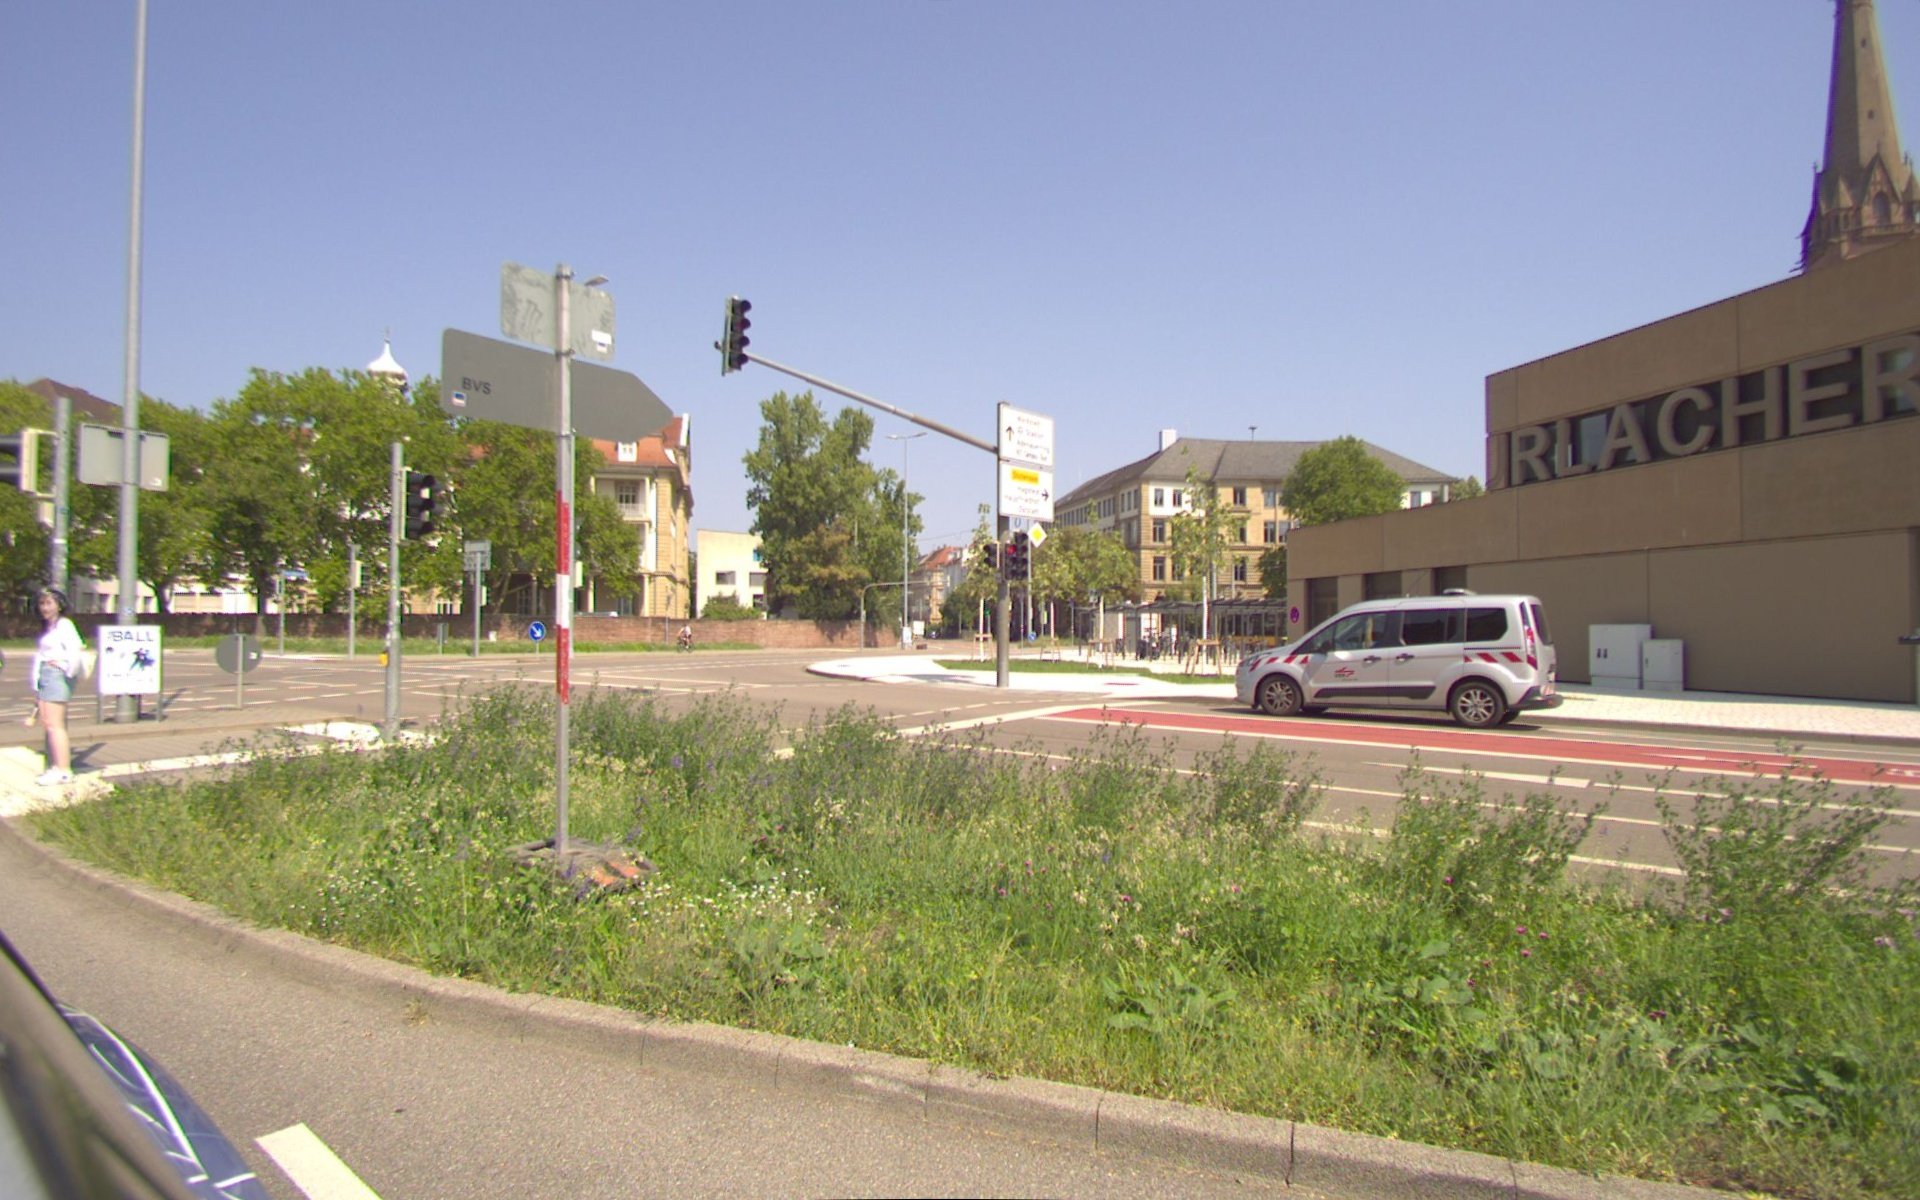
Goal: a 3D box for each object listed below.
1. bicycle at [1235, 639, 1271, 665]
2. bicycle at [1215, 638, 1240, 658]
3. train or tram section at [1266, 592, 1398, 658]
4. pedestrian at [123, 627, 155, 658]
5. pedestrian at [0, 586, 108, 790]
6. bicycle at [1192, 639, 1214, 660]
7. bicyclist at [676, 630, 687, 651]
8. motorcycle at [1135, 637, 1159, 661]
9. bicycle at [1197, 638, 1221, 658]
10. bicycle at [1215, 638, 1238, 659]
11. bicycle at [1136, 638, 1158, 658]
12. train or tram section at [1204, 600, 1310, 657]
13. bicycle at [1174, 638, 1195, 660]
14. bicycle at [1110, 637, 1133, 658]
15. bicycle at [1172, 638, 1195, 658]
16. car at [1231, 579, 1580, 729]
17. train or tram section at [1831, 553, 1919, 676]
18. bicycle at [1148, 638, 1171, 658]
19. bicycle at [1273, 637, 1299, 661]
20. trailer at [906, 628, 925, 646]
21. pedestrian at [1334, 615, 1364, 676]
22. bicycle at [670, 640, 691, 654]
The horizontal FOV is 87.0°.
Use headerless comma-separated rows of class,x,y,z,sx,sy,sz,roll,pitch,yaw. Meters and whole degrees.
bicycle,12.082,2.126,41.757,0.504,1.048,1.740,1,-3,-20
bicycle,14.278,2.581,54.024,0.518,1.048,1.774,1,-3,-11
train or tram section,22.058,1.633,60.712,3.109,3.625,8.548,2,-3,-14
pedestrian,-54.844,2.850,67.602,1.218,2.029,1.071,0,-3,2
pedestrian,-8.017,0.754,8.885,0.688,1.708,0.609,2,-3,-32
bicycle,12.212,2.500,50.975,0.406,1.048,1.644,1,-3,-11
bicyclist,-16.415,2.394,59.628,0.430,1.242,0.537,-1,-2,19
motorcycle,8.639,2.276,46.879,0.483,1.077,1.783,1,-3,-11
bicycle,13.193,2.562,53.661,0.518,1.048,1.774,1,-3,-11
bicycle,13.559,2.488,51.531,0.406,1.048,1.644,1,-3,-11
bicycle,9.717,2.489,52.615,0.518,1.048,1.774,1,-3,-11
train or tram section,20.030,2.033,68.915,3.085,3.588,8.350,2,-3,-14
bicycle,11.314,2.466,50.982,0.406,1.048,1.644,1,-3,-11
bicycle,8.389,2.451,52.616,0.518,1.090,1.869,1,-3,-11
bicycle,11.857,2.544,53.631,0.518,1.048,1.774,1,-3,-11
car,6.416,0.787,14.802,4.327,1.874,1.974,-2,-5,38
train or tram section,30.088,0.382,28.323,3.092,3.597,8.266,2,-4,-14
bicycle,10.395,2.509,52.761,0.518,1.048,1.774,1,-3,-11
bicycle,14.944,2.247,46.434,0.406,1.048,1.644,1,-3,-11
trailer,-8.531,7.074,192.990,2.400,3.313,5.103,1,-2,-16
pedestrian,10.962,1.274,28.517,0.559,1.691,0.537,1,-3,-14
bicycle,-16.435,2.747,59.557,0.434,0.818,1.476,-1,-2,19
